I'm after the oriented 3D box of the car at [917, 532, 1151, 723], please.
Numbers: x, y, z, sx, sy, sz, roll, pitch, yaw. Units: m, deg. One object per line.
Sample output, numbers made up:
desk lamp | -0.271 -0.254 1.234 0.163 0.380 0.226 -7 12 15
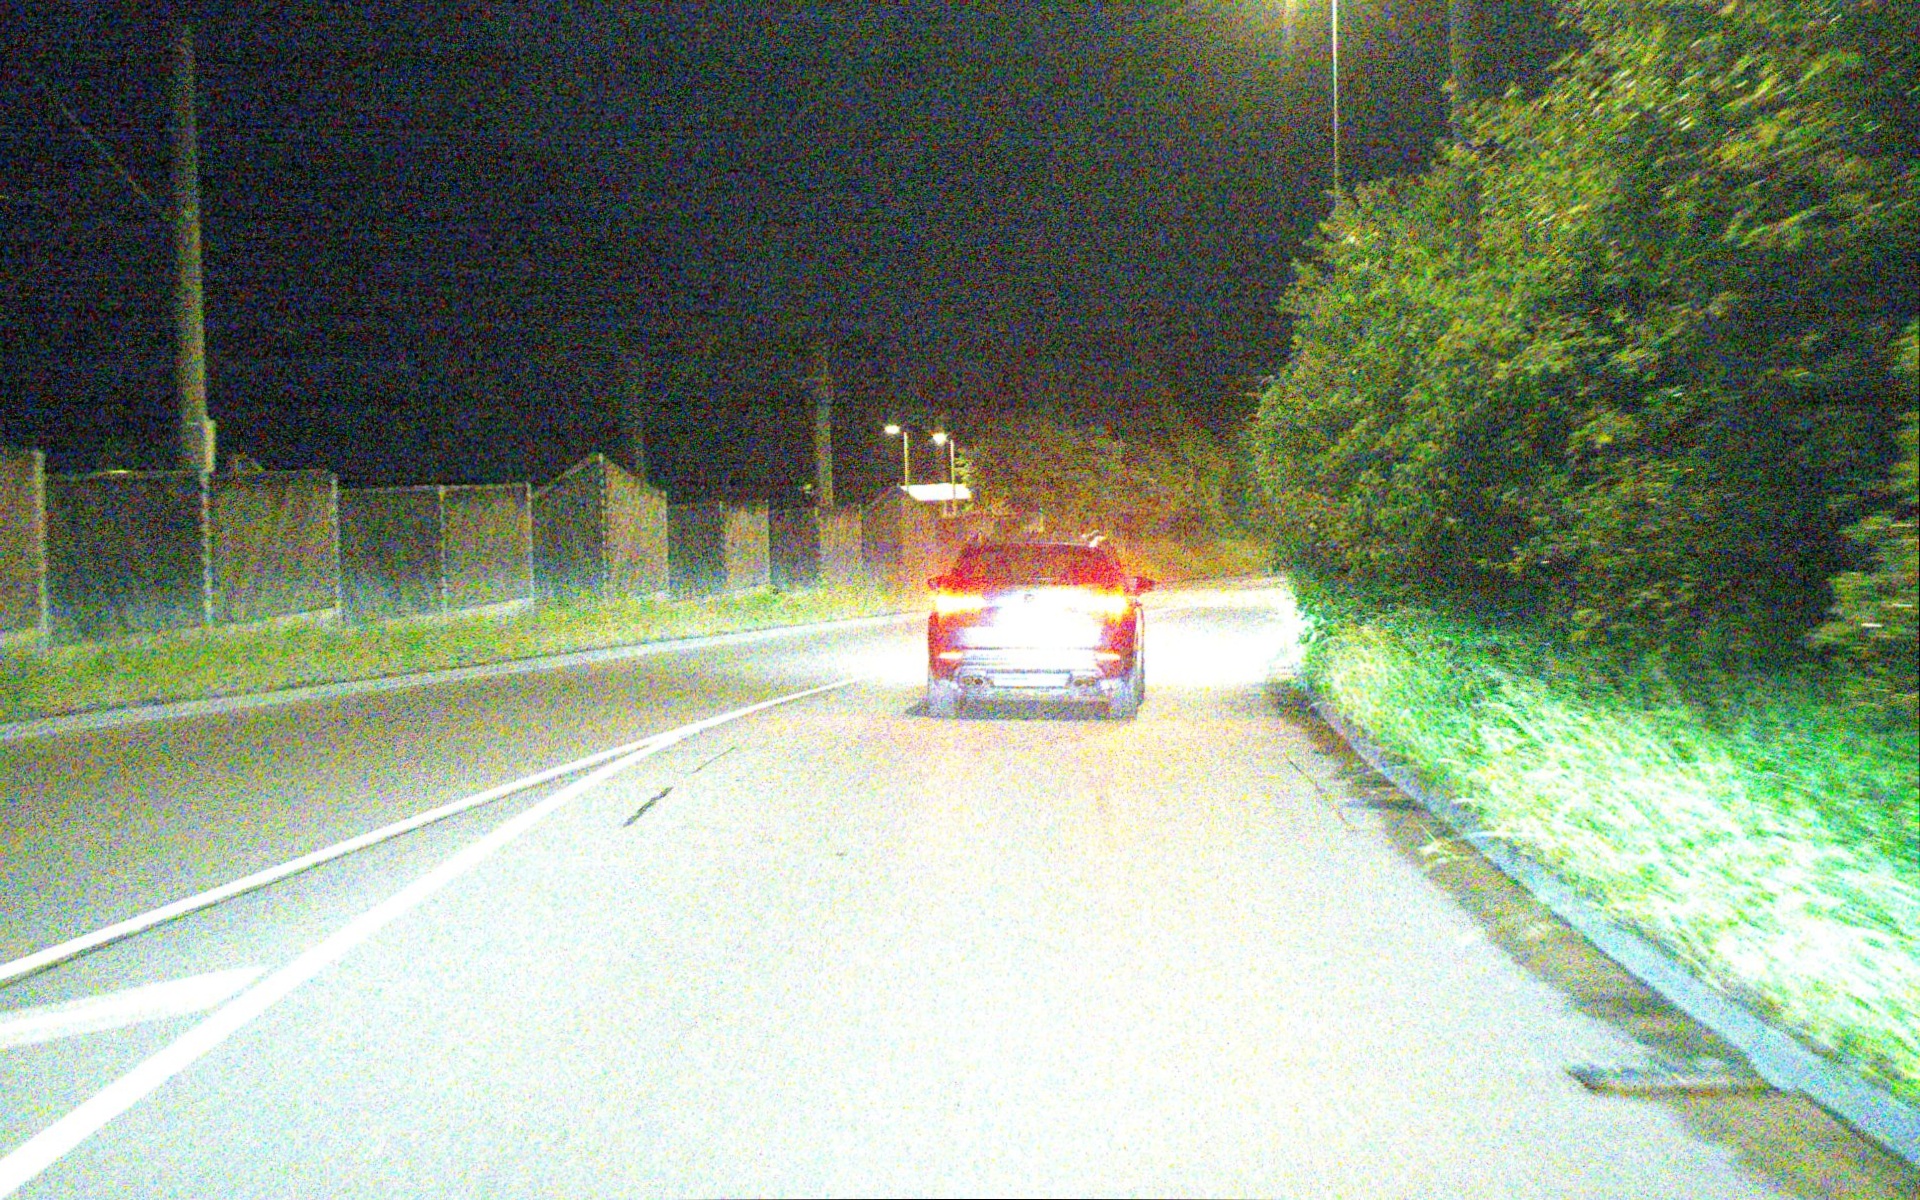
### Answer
car | 0.720 0.191 30.533 1.815 1.568 3.943 1 1 5
